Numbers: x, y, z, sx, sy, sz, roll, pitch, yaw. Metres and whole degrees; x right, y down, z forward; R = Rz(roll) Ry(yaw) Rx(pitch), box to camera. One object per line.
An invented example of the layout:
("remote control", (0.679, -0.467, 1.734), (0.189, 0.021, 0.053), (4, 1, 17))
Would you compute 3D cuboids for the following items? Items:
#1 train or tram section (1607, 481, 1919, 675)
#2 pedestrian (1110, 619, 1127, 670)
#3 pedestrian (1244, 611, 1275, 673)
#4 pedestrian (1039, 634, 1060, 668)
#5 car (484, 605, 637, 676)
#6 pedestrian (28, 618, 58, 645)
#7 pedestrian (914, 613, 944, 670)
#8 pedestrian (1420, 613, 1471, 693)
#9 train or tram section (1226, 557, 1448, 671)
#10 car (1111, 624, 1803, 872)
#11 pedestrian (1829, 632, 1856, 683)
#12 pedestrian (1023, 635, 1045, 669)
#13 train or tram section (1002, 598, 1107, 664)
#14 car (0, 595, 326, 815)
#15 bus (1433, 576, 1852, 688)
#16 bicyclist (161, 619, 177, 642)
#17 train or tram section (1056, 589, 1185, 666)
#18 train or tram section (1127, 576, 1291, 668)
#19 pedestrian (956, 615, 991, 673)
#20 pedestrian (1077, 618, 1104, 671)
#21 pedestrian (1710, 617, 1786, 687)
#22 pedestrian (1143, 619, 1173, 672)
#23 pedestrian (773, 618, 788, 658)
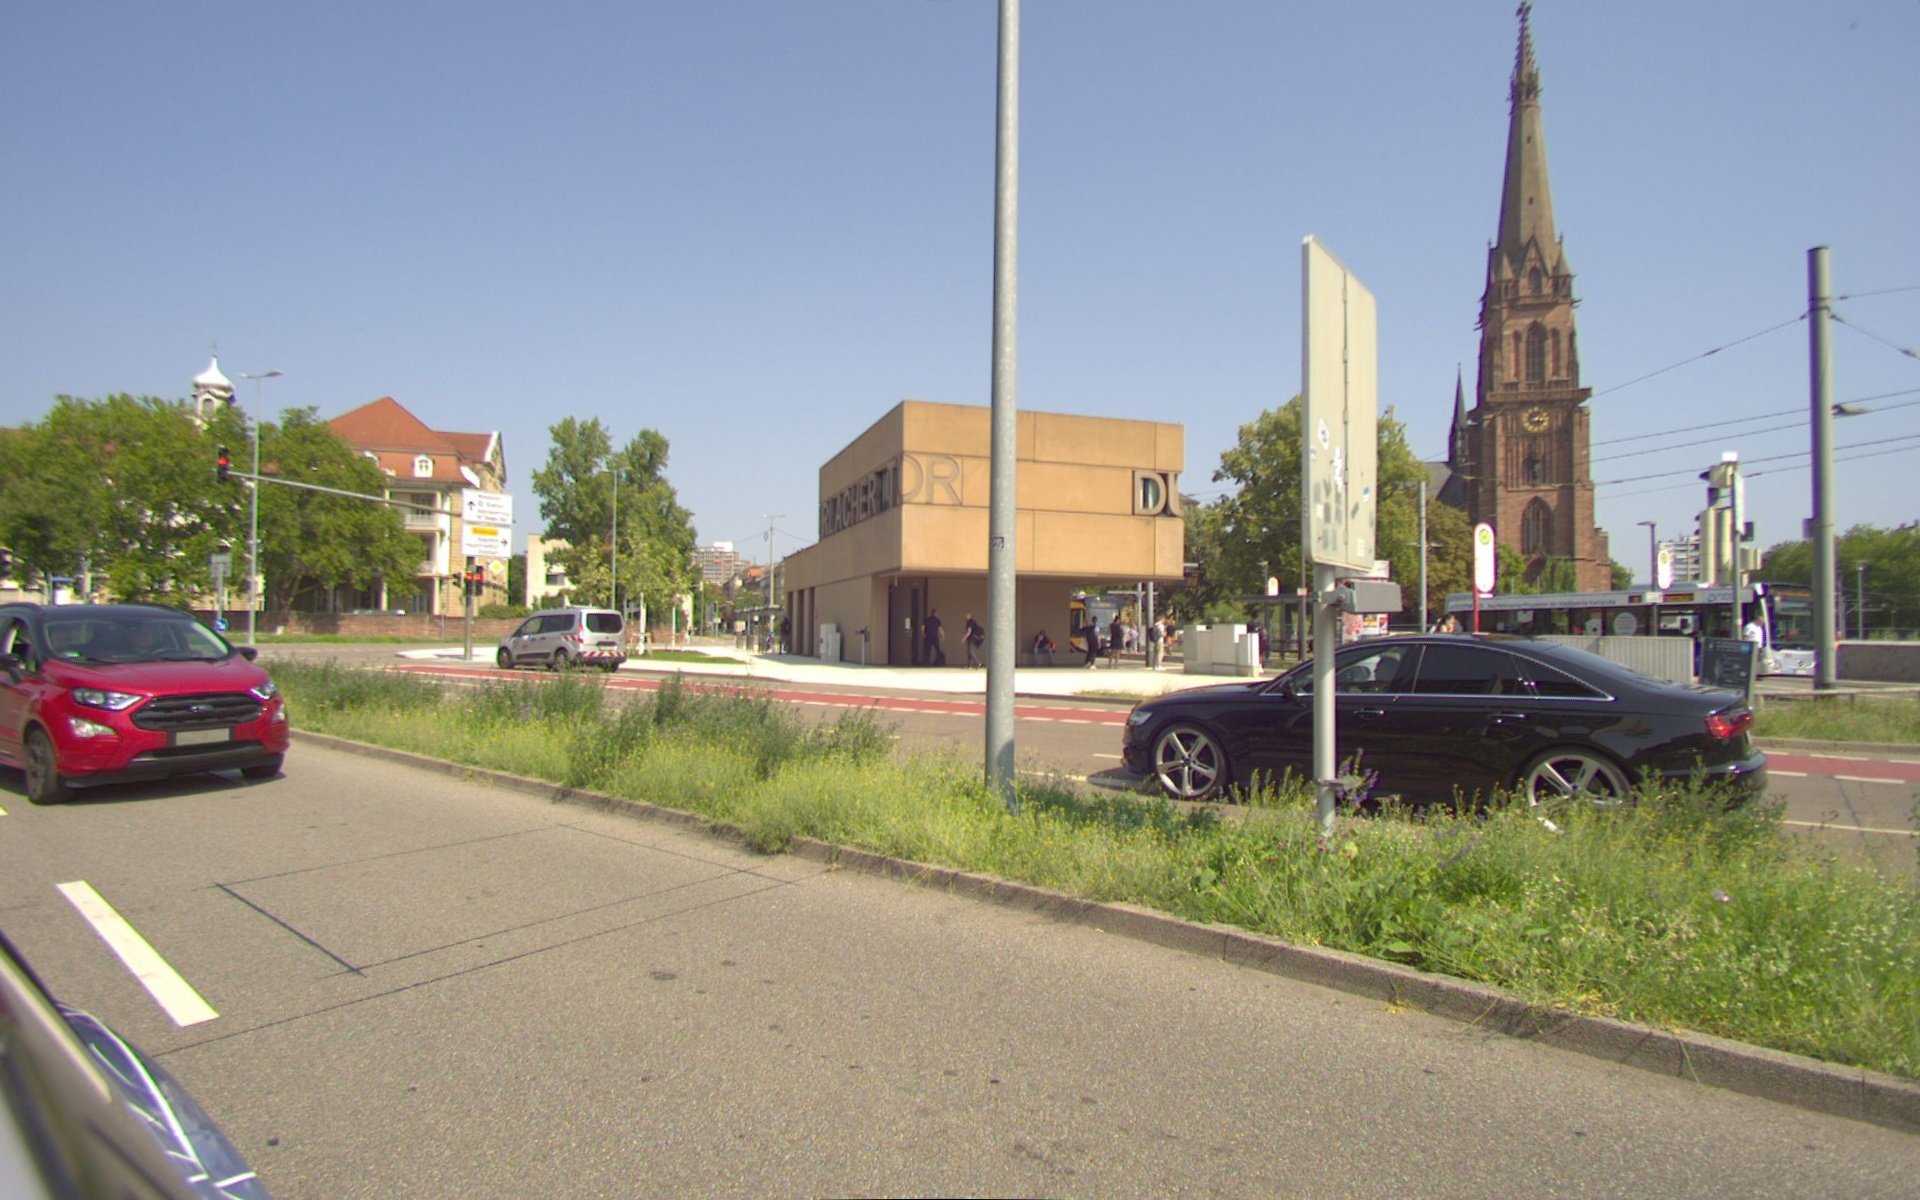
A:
("train or tram section", (18.808, -0.258, 21.562), (3.091, 3.597, 8.270), (3, -4, -19))
("pedestrian", (5.096, 1.424, 32.552), (0.485, 1.626, 0.509), (1, -2, 5))
("pedestrian", (8.686, 1.220, 29.383), (0.685, 1.776, 0.553), (2, -2, -32))
("pedestrian", (2.928, 1.680, 33.105), (0.531, 1.092, 0.502), (1, -2, -19))
("car", (-11.590, 1.177, 29.294), (4.322, 1.874, 1.977), (-1, -5, 34))
("pedestrian", (-70.443, 2.445, 77.756), (1.217, 2.029, 1.073), (1, -3, -2))
("pedestrian", (-0.945, 1.259, 30.823), (0.740, 1.701, 0.630), (0, -2, 15))
("pedestrian", (10.535, 1.140, 21.959), (0.773, 1.715, 0.630), (1, -2, -23))
("train or tram section", (13.459, 0.694, 37.132), (3.091, 3.597, 8.270), (3, -4, -19))
("car", (3.751, 0.943, 8.272), (4.761, 1.421, 1.753), (-1, 0, 39))
("pedestrian", (28.451, 1.837, 32.631), (0.457, 1.624, 0.468), (1, -2, -20))
("pedestrian", (2.404, 1.685, 32.919), (0.531, 1.092, 0.502), (1, -2, -19))
("train or tram section", (5.492, 1.942, 60.501), (3.107, 3.625, 8.271), (2, -4, -18))
("car", (-7.829, 0.799, 9.328), (3.987, 1.627, 1.825), (-1, -1, 32))
("bus", (22.088, 1.083, 34.452), (3.053, 3.094, 12.521), (1, -2, -18))
("bicyclist", (-44.077, 1.690, 56.407), (0.429, 1.242, 0.538), (-1, -3, 14))
("train or tram section", (8.136, 1.540, 52.695), (3.091, 3.597, 8.270), (3, -4, -19))
("train or tram section", (10.786, 1.113, 44.920), (3.091, 3.597, 8.270), (3, -4, -19))
("pedestrian", (0.414, 1.301, 30.356), (0.808, 1.715, 0.638), (-1, -3, 39))
("pedestrian", (4.096, 1.392, 31.881), (0.628, 1.626, 0.694), (1, -2, -13))
("pedestrian", (22.070, 1.441, 28.377), (1.021, 1.900, 1.314), (2, -2, -17))
("pedestrian", (6.375, 1.460, 32.582), (0.808, 1.682, 0.544), (-1, -3, 38))
("pedestrian", (-7.801, 1.654, 43.971), (0.559, 1.691, 0.538), (1, -3, -19))
